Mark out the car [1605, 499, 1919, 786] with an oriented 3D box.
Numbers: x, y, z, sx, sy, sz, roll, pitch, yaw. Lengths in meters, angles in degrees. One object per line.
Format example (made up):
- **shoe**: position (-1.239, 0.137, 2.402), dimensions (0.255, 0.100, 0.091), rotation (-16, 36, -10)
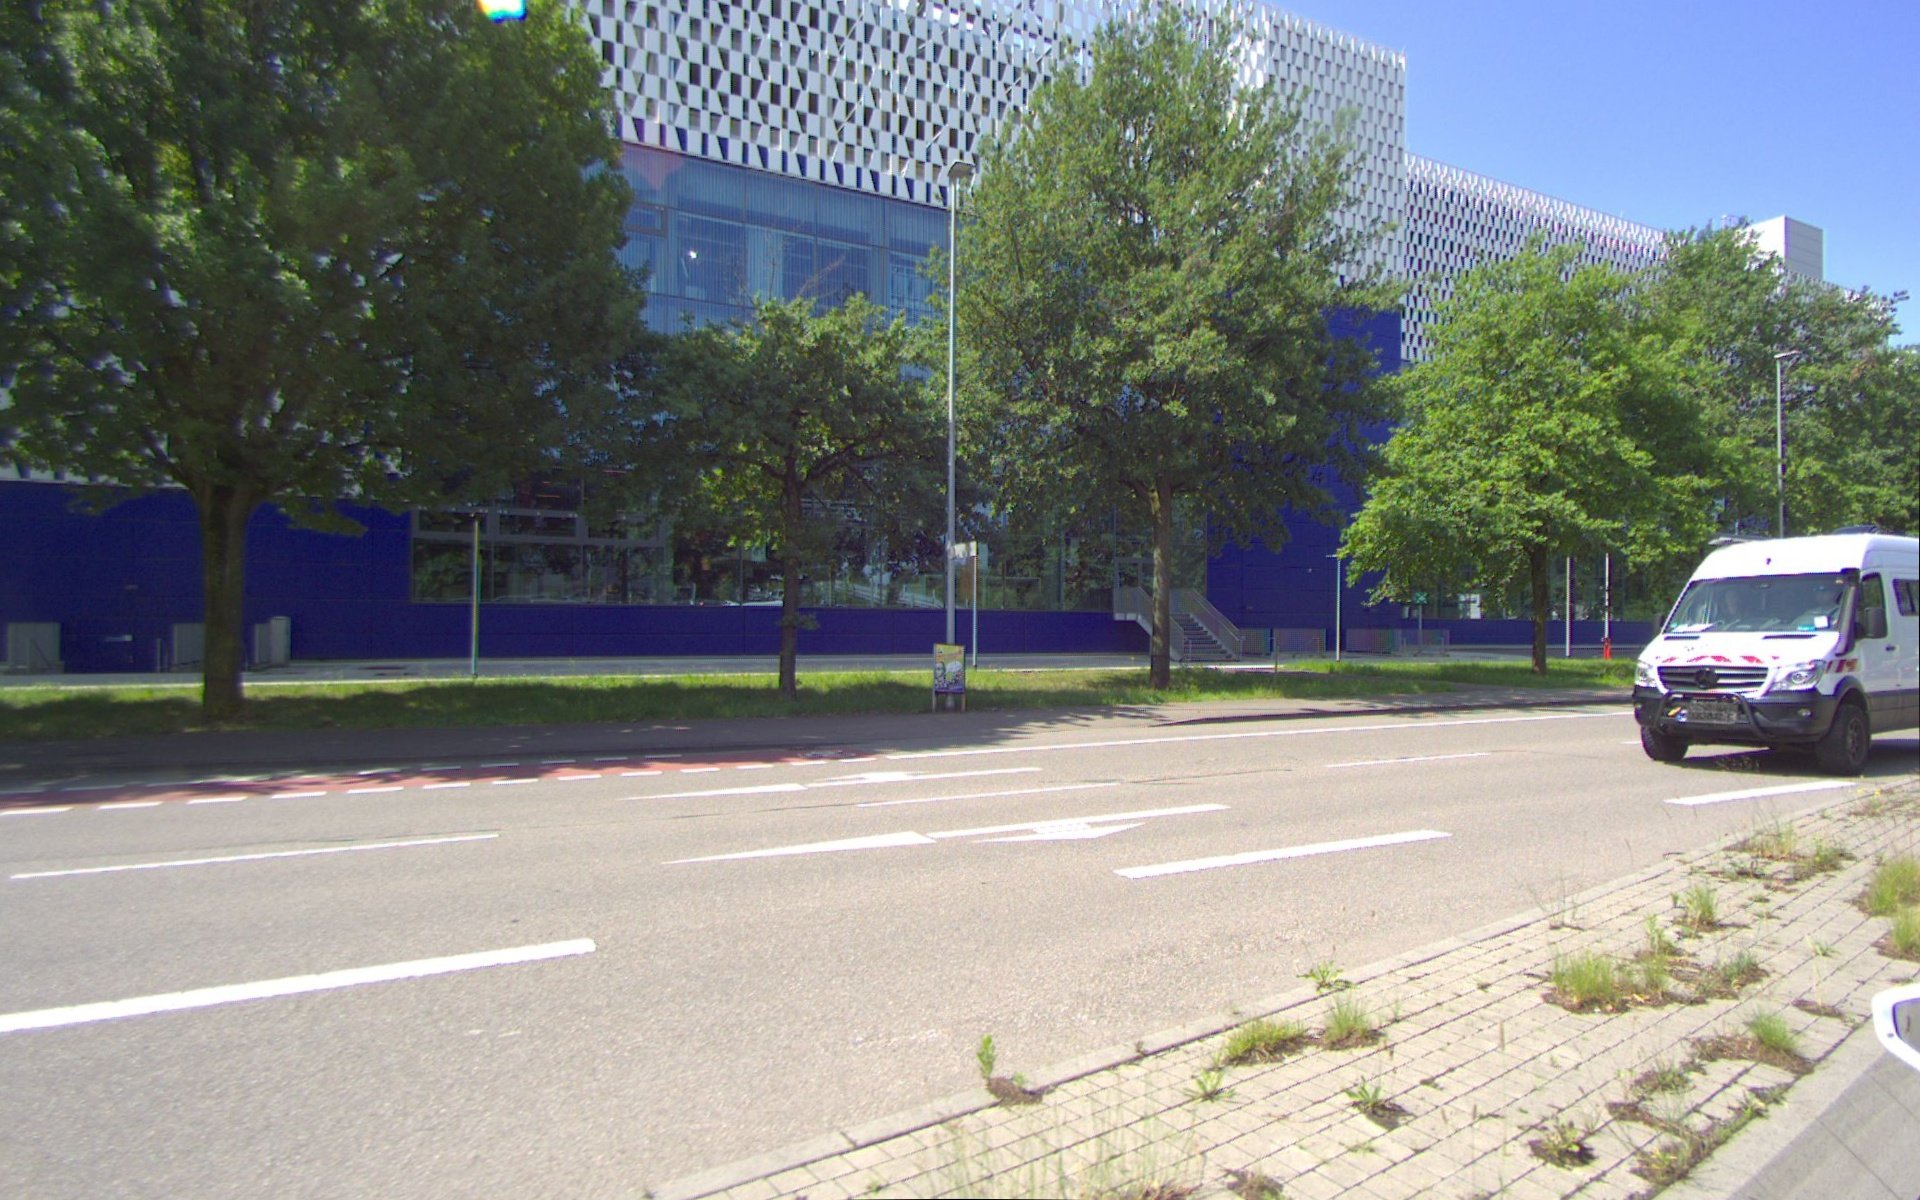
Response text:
- **car**: position (10.914, 0.507, 12.746), dimensions (6.308, 2.932, 2.013), rotation (1, -1, -31)
